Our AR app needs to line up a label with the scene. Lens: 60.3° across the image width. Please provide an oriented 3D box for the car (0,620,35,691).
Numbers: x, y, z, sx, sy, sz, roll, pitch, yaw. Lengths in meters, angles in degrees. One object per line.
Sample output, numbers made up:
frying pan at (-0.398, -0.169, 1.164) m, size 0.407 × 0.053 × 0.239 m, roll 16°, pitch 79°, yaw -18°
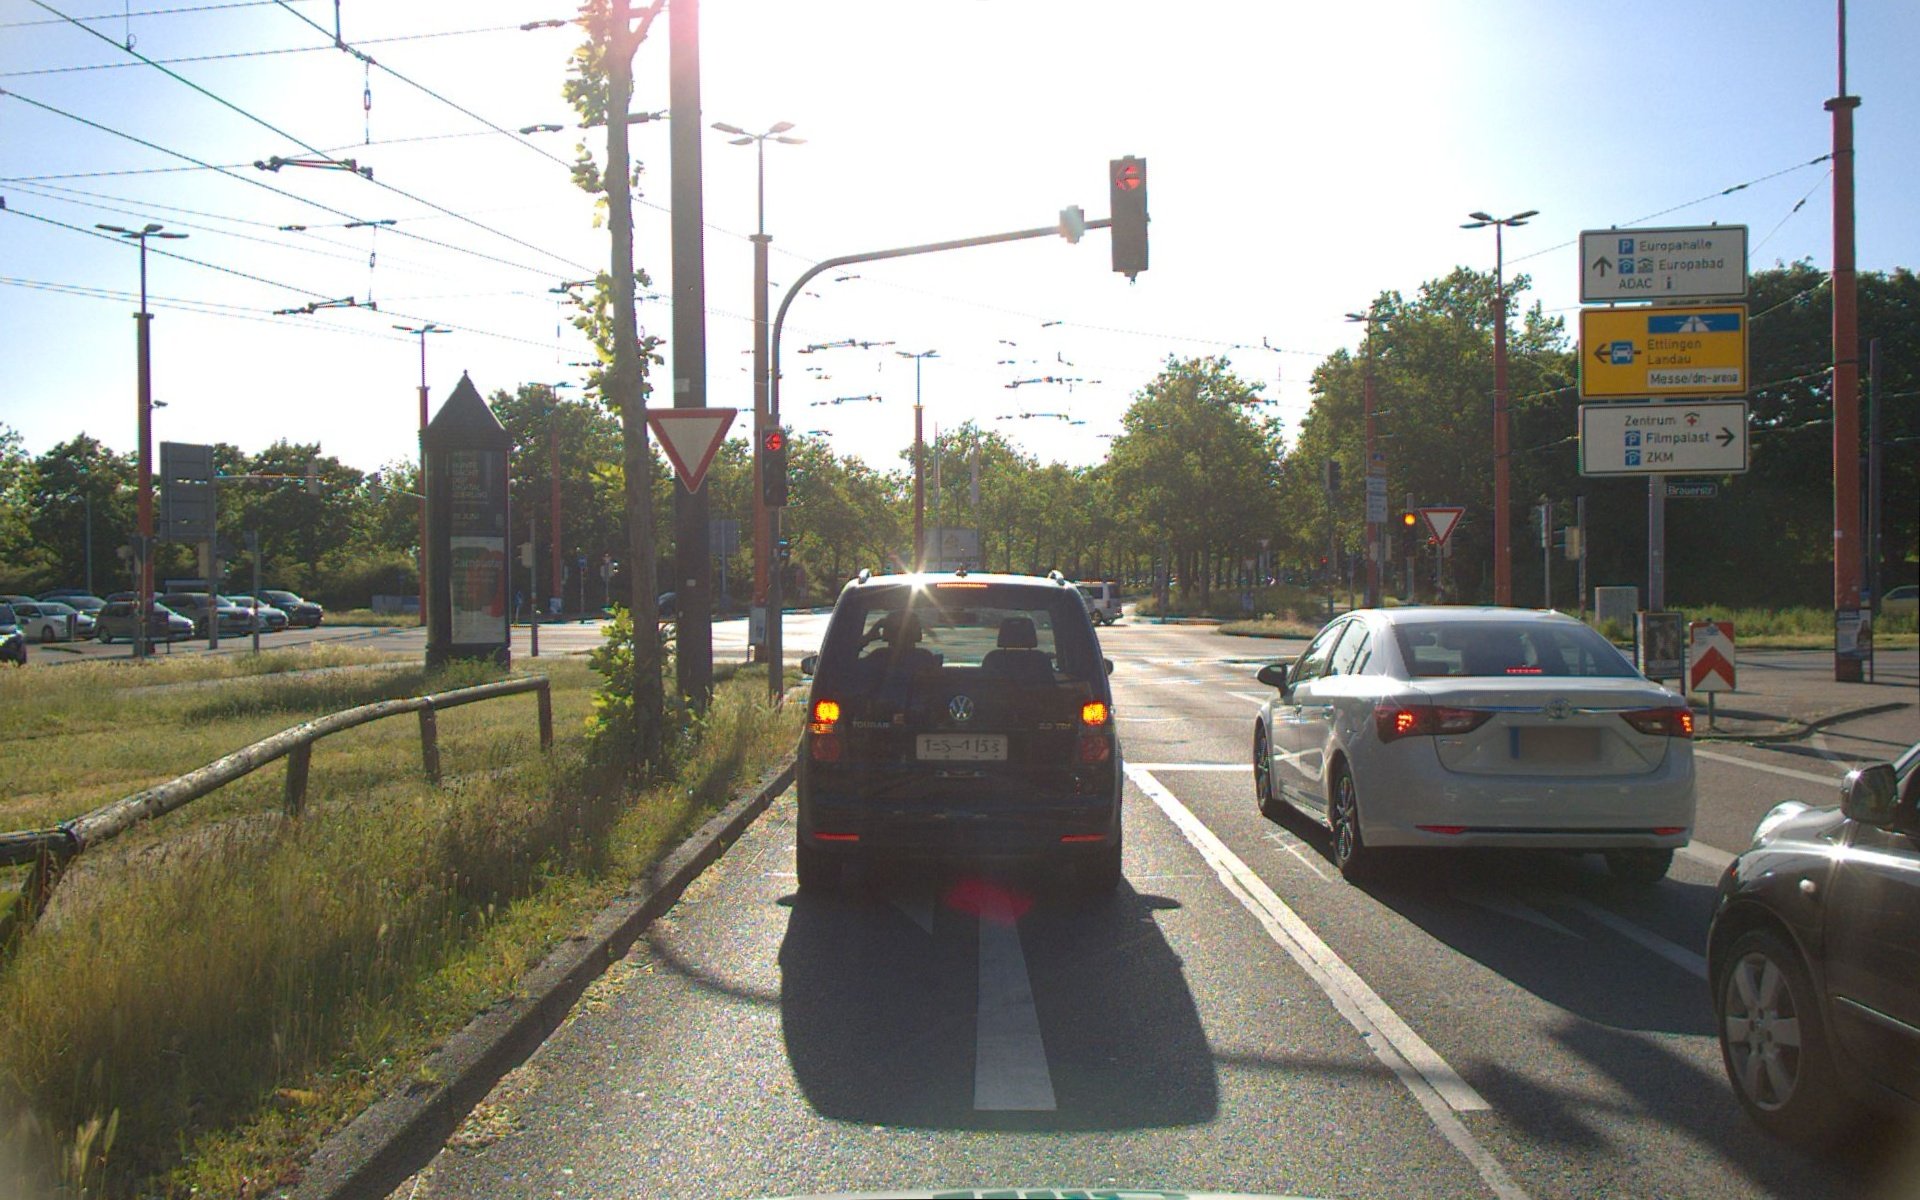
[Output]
car at (-24.698, 1.385, 42.328) m, size 1.632 × 1.647 × 4.256 m, roll 0°, pitch 0°, yaw -27°

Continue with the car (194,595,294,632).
car at (-29.406, 0.534, 67.920) m, size 4.060 × 1.440 × 1.542 m, roll 0°, pitch 0°, yaw 26°

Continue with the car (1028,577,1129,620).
car at (5.095, -0.071, 71.384) m, size 4.036 × 1.780 × 1.656 m, roll 0°, pitch 0°, yaw 24°

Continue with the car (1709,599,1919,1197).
car at (3.138, 0.741, 3.484) m, size 1.544 × 1.465 × 3.441 m, roll 1°, pitch 0°, yaw 0°

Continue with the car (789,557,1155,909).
car at (0.069, 0.634, 9.958) m, size 1.703 × 1.630 × 4.326 m, roll 1°, pitch 0°, yaw 0°

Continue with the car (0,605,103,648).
car at (-34.940, 0.972, 63.247) m, size 4.536 × 1.546 × 1.654 m, roll 0°, pitch 0°, yaw 30°

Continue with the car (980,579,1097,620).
car at (3.241, -0.036, 68.462) m, size 4.568 × 1.654 × 1.655 m, roll 0°, pitch 0°, yaw 26°

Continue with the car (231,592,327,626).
car at (-29.470, 0.375, 71.543) m, size 4.060 × 1.440 × 1.542 m, roll 0°, pitch 0°, yaw 26°

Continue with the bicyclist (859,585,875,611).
bicyclist at (-6.885, -0.151, 122.462) m, size 0.955 × 1.937 × 1.051 m, roll 0°, pitch 0°, yaw 12°

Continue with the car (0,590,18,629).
car at (-42.987, 0.387, 71.628) m, size 4.541 × 1.676 × 1.753 m, roll 0°, pitch 0°, yaw 30°

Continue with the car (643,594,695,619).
car at (-17.810, 0.382, 101.404) m, size 1.616 × 1.427 × 4.136 m, roll 0°, pitch 0°, yaw 14°

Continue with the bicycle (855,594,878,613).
bicycle at (-6.892, 0.272, 122.421) m, size 0.955 × 1.413 × 2.982 m, roll 0°, pitch 0°, yaw 12°

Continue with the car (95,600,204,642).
car at (-29.545, 0.733, 60.294) m, size 3.755 × 1.466 × 1.655 m, roll 0°, pitch 0°, yaw 27°

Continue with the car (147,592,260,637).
car at (-29.319, 0.543, 64.085) m, size 4.541 × 1.676 × 1.654 m, roll 0°, pitch 0°, yaw 30°

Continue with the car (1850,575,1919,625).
car at (33.207, -0.003, 57.270) m, size 4.120 × 1.710 × 1.655 m, roll 0°, pitch 0°, yaw 26°

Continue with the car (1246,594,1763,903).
car at (3.017, 0.728, 10.180) m, size 1.762 × 1.465 × 4.326 m, roll 1°, pitch 0°, yaw 0°
